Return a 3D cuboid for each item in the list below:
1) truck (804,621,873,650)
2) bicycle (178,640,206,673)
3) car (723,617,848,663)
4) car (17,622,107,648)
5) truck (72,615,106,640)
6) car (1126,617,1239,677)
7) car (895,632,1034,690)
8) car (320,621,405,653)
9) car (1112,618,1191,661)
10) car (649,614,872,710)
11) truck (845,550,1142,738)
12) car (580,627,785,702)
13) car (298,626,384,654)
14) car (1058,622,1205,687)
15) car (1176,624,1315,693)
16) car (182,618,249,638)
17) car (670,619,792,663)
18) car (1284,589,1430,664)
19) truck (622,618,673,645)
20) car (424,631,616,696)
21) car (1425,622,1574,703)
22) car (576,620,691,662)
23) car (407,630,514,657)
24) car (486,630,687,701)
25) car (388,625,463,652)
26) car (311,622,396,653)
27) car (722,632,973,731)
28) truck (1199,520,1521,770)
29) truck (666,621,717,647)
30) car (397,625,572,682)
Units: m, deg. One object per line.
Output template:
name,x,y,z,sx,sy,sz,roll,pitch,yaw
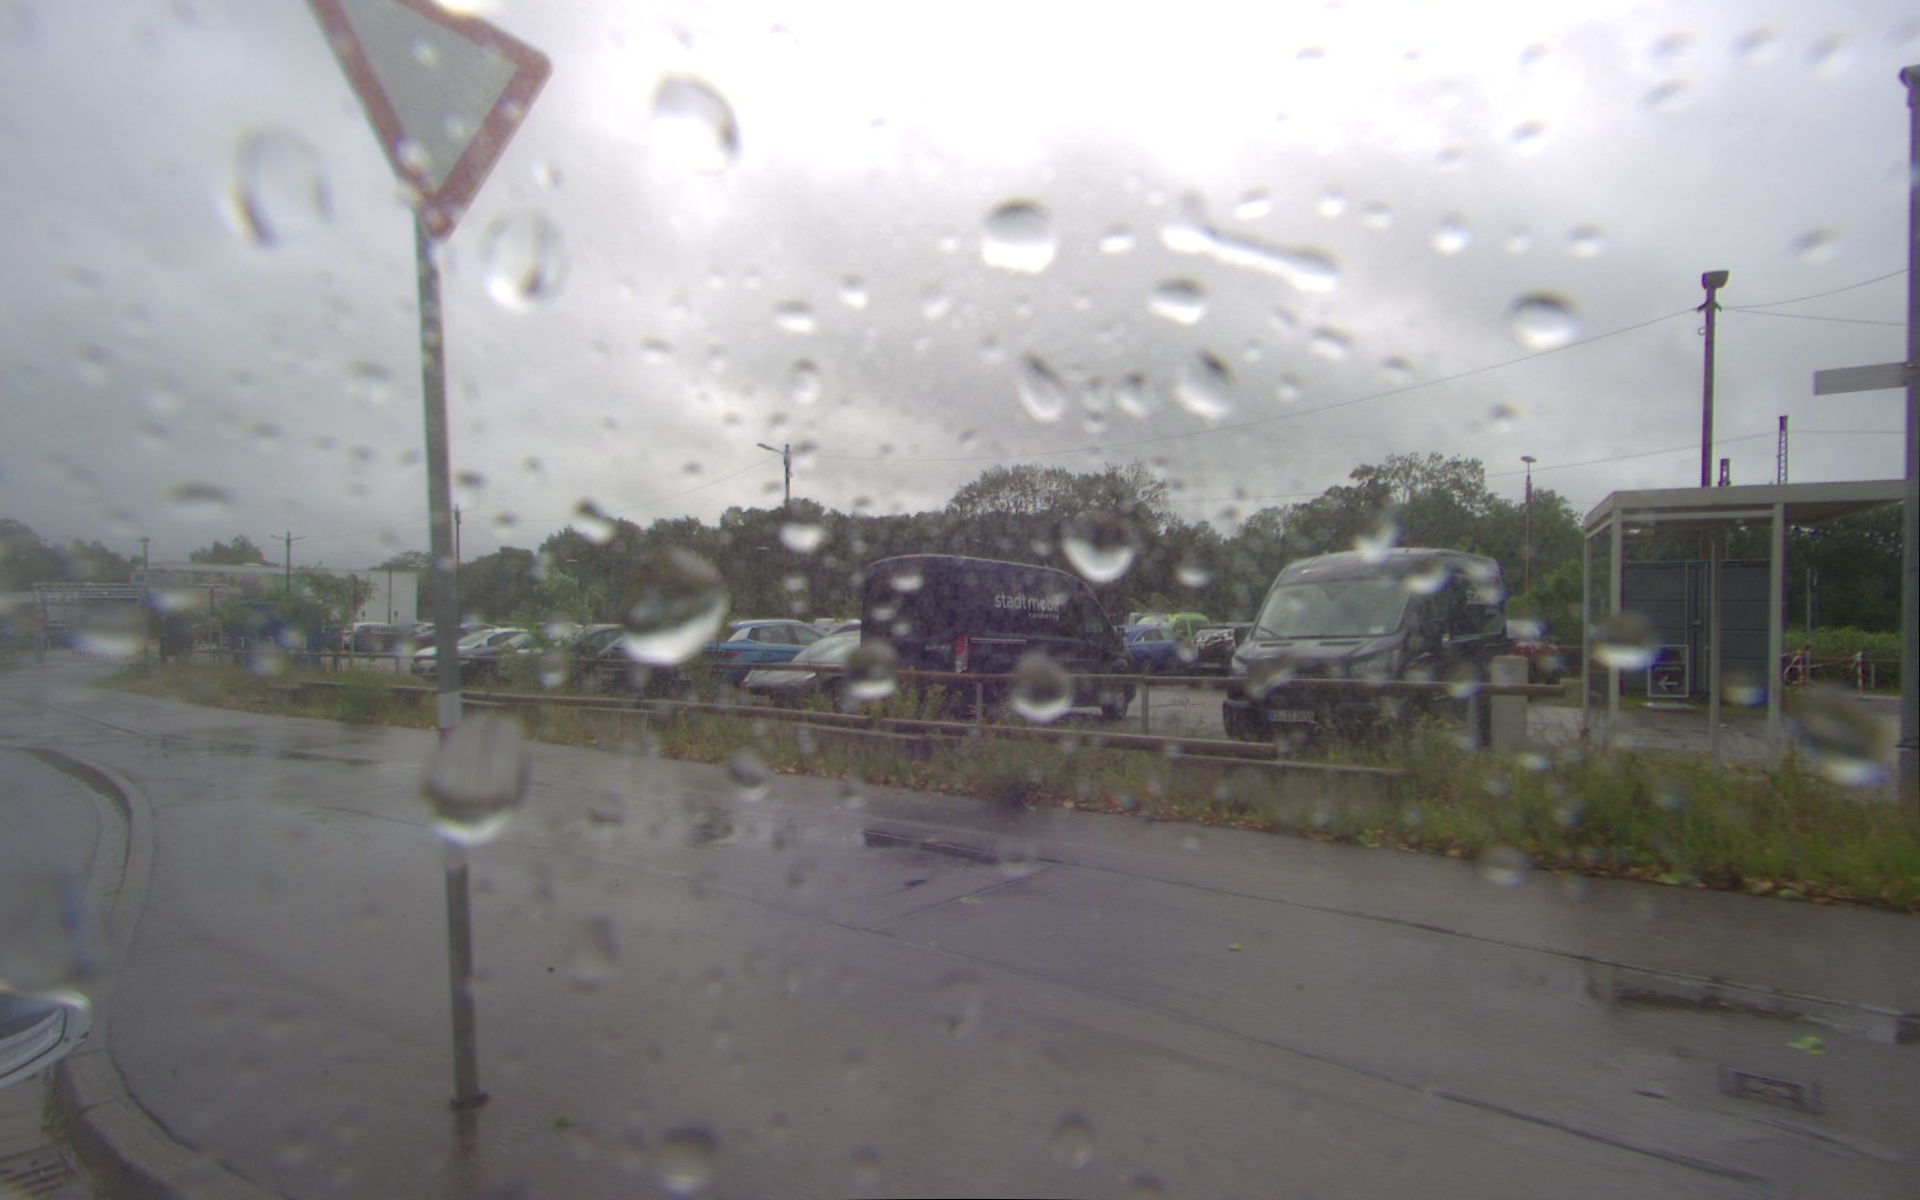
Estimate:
truck,-8.815,2.545,72.561,5.220,2.040,2.071,0,-1,42
bicycle,-26.901,1.979,35.093,0.501,1.098,1.695,0,-1,-28
car,-5.999,1.370,34.742,1.867,1.445,3.931,-2,-2,42
car,-63.086,2.454,70.401,2.107,1.757,4.653,-2,-2,45
truck,-99.966,3.102,114.877,7.337,2.694,2.288,-1,0,44
car,7.280,1.504,32.552,1.779,1.823,3.964,-2,-3,44
car,0.190,1.719,28.903,1.867,1.445,3.931,-2,-2,42
car,-33.532,2.059,56.268,1.768,1.604,3.753,-2,-1,43
car,8.494,1.751,44.143,1.673,1.788,3.949,-1,-3,41
car,-3.673,1.151,18.964,1.874,1.614,3.882,-2,-4,38
truck,0.724,0.691,15.602,2.084,2.432,5.016,-1,-3,38
car,-5.734,1.330,21.037,1.758,1.412,3.882,-2,-4,38
car,-37.260,2.420,60.331,1.908,1.503,4.021,-3,-1,43
car,4.554,1.380,26.222,1.905,1.509,4.043,-2,-2,42
car,7.054,1.376,24.494,1.689,1.499,3.931,-2,-2,42
car,-59.717,2.275,80.326,1.978,1.504,3.969,-2,-4,41
car,-8.201,1.443,36.093,1.867,1.445,3.931,-2,-2,42
car,9.080,0.578,22.743,1.788,1.557,3.931,-2,-2,42
truck,-28.353,2.816,90.827,5.024,2.433,2.063,-1,-1,41
car,-10.630,1.523,24.406,1.882,1.440,3.882,-2,-4,38
car,11.324,1.242,20.908,1.822,1.468,3.965,-2,-2,42
car,-12.759,1.584,39.298,1.759,1.509,3.931,-2,-2,42
car,-25.817,2.219,51.870,1.955,1.237,4.567,-2,-2,39
car,-8.247,1.440,22.378,1.758,1.440,3.882,-2,-4,38
car,-35.825,2.596,67.205,1.906,1.626,4.039,-2,-1,41
car,-35.391,2.186,58.506,1.768,1.604,3.880,-2,-1,43
car,-1.752,1.305,16.806,1.840,1.437,4.146,-2,-4,37
truck,5.061,0.557,12.135,2.051,2.352,5.307,-1,-3,40
truck,-23.190,2.899,86.305,2.059,2.166,5.033,1,-1,-44
car,-12.536,1.419,26.543,1.882,1.410,3.759,-2,-4,38
